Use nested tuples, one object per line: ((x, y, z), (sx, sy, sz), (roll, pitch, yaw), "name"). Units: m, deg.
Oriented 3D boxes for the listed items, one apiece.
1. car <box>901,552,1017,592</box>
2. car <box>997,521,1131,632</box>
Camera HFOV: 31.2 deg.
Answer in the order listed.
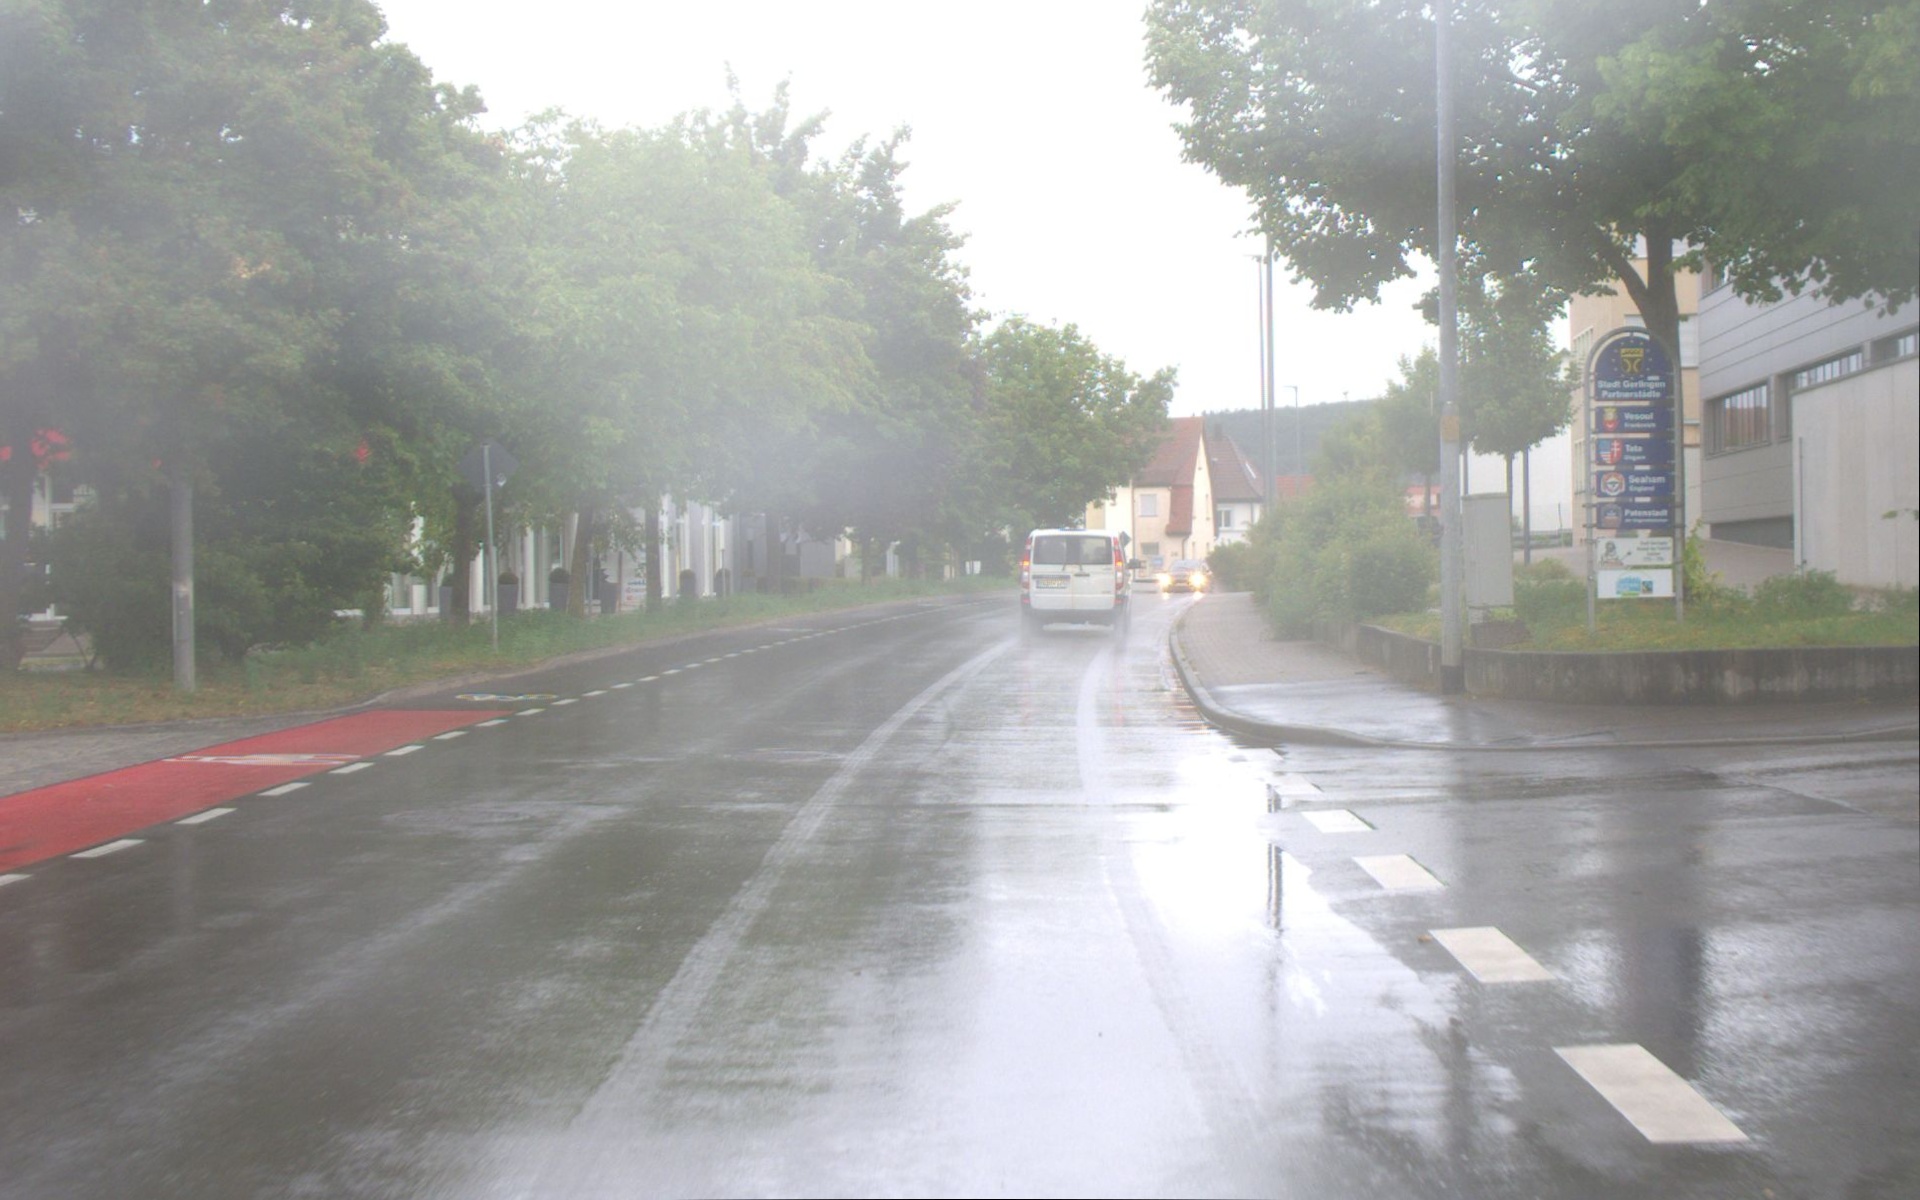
((-0.034, -0.984, 121.457), (3.901, 1.280, 1.581), (-2, -1, 7), "car")
((1.820, -0.461, 61.499), (2.117, 1.881, 4.502), (0, 2, -2), "car")
